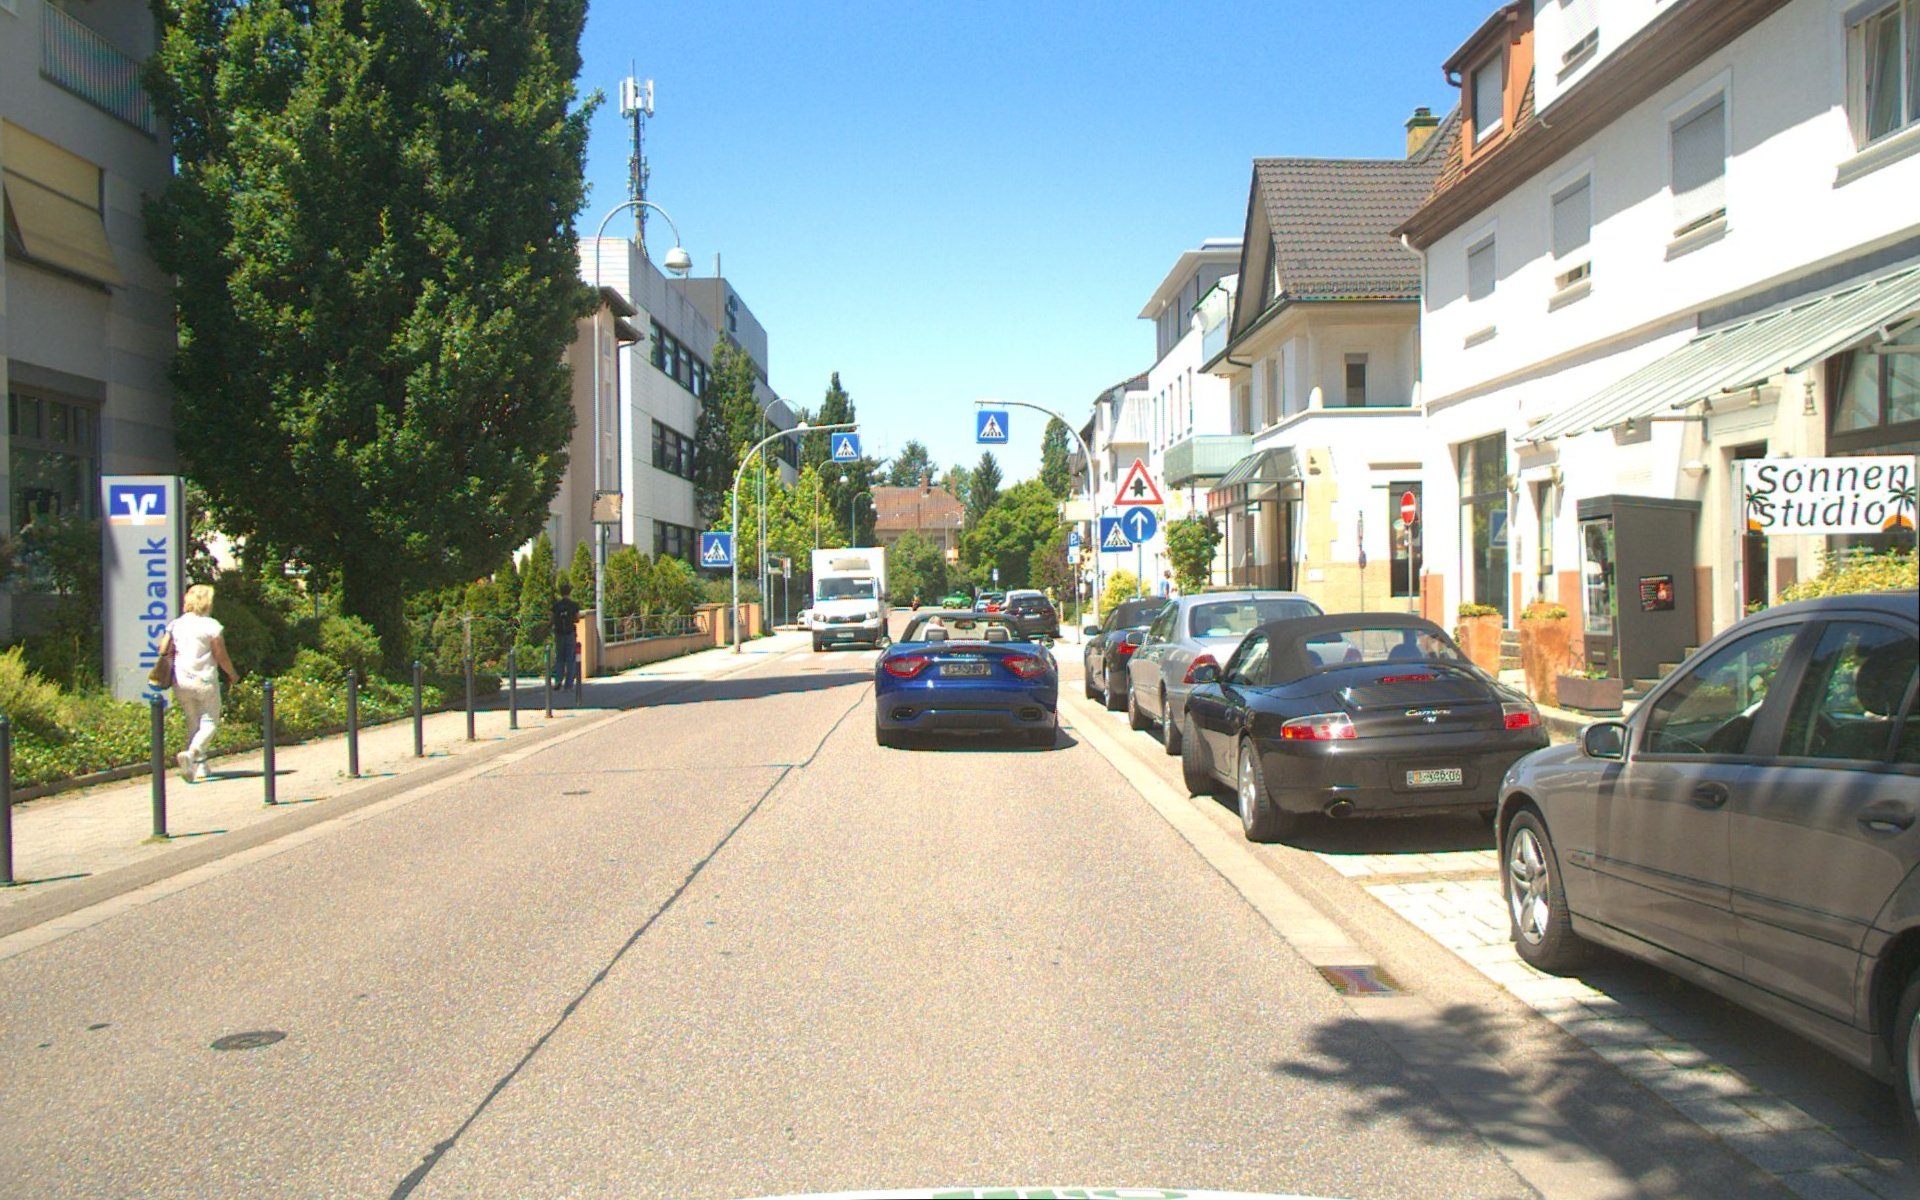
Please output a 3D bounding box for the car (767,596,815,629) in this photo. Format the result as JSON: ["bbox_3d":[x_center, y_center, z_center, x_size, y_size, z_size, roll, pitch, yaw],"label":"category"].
[{"bbox_3d":[-7.785,0.557,76.413,1.785,1.436,4.577,0,0,0],"label":"car"}]

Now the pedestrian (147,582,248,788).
[{"bbox_3d":[-6.531,0.709,14.192,0.525,1.715,0.708,-1,0,-1],"label":"pedestrian"}]

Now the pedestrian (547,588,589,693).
[{"bbox_3d":[-6.534,0.666,27.568,0.525,1.715,0.708,-1,0,-1],"label":"pedestrian"}]

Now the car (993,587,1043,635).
[{"bbox_3d":[2.137,0.387,62.112,1.670,1.695,4.580,-2,0,0],"label":"car"}]

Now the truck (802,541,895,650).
[{"bbox_3d":[-3.273,-0.147,49.958,2.370,3.035,6.257,-1,0,-1],"label":"truck"}]

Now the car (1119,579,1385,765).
[{"bbox_3d":[2.747,0.618,16.678,1.708,1.494,4.851,-3,0,-1],"label":"car"}]

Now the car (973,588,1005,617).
[{"bbox_3d":[1.744,0.126,100.930,1.806,1.647,4.427,-3,0,0],"label":"car"}]

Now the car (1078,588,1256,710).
[{"bbox_3d":[2.758,0.612,23.038,1.789,1.451,4.699,-3,0,-1],"label":"car"}]

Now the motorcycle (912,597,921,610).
[{"bbox_3d":[-3.675,0.305,140.477,0.684,1.126,1.789,-2,0,-1],"label":"motorcycle"}]

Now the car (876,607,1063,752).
[{"bbox_3d":[0.070,0.767,18.139,1.789,1.360,4.699,0,0,-1],"label":"car"}]

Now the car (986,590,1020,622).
[{"bbox_3d":[2.180,0.286,83.733,1.571,1.465,3.853,-4,0,1],"label":"car"}]

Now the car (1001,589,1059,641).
[{"bbox_3d":[2.333,0.484,56.192,1.670,1.583,4.747,-3,0,0],"label":"car"}]

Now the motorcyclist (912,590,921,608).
[{"bbox_3d":[-3.688,-0.102,140.318,0.684,1.458,0.707,-2,0,-2],"label":"motorcyclist"}]

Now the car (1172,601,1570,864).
[{"bbox_3d":[2.516,0.723,11.115,1.526,1.364,4.172,-2,0,-1],"label":"car"}]

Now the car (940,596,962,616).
[{"bbox_3d":[-0.853,0.552,153.017,1.785,1.616,4.102,3,1,2],"label":"car"}]
